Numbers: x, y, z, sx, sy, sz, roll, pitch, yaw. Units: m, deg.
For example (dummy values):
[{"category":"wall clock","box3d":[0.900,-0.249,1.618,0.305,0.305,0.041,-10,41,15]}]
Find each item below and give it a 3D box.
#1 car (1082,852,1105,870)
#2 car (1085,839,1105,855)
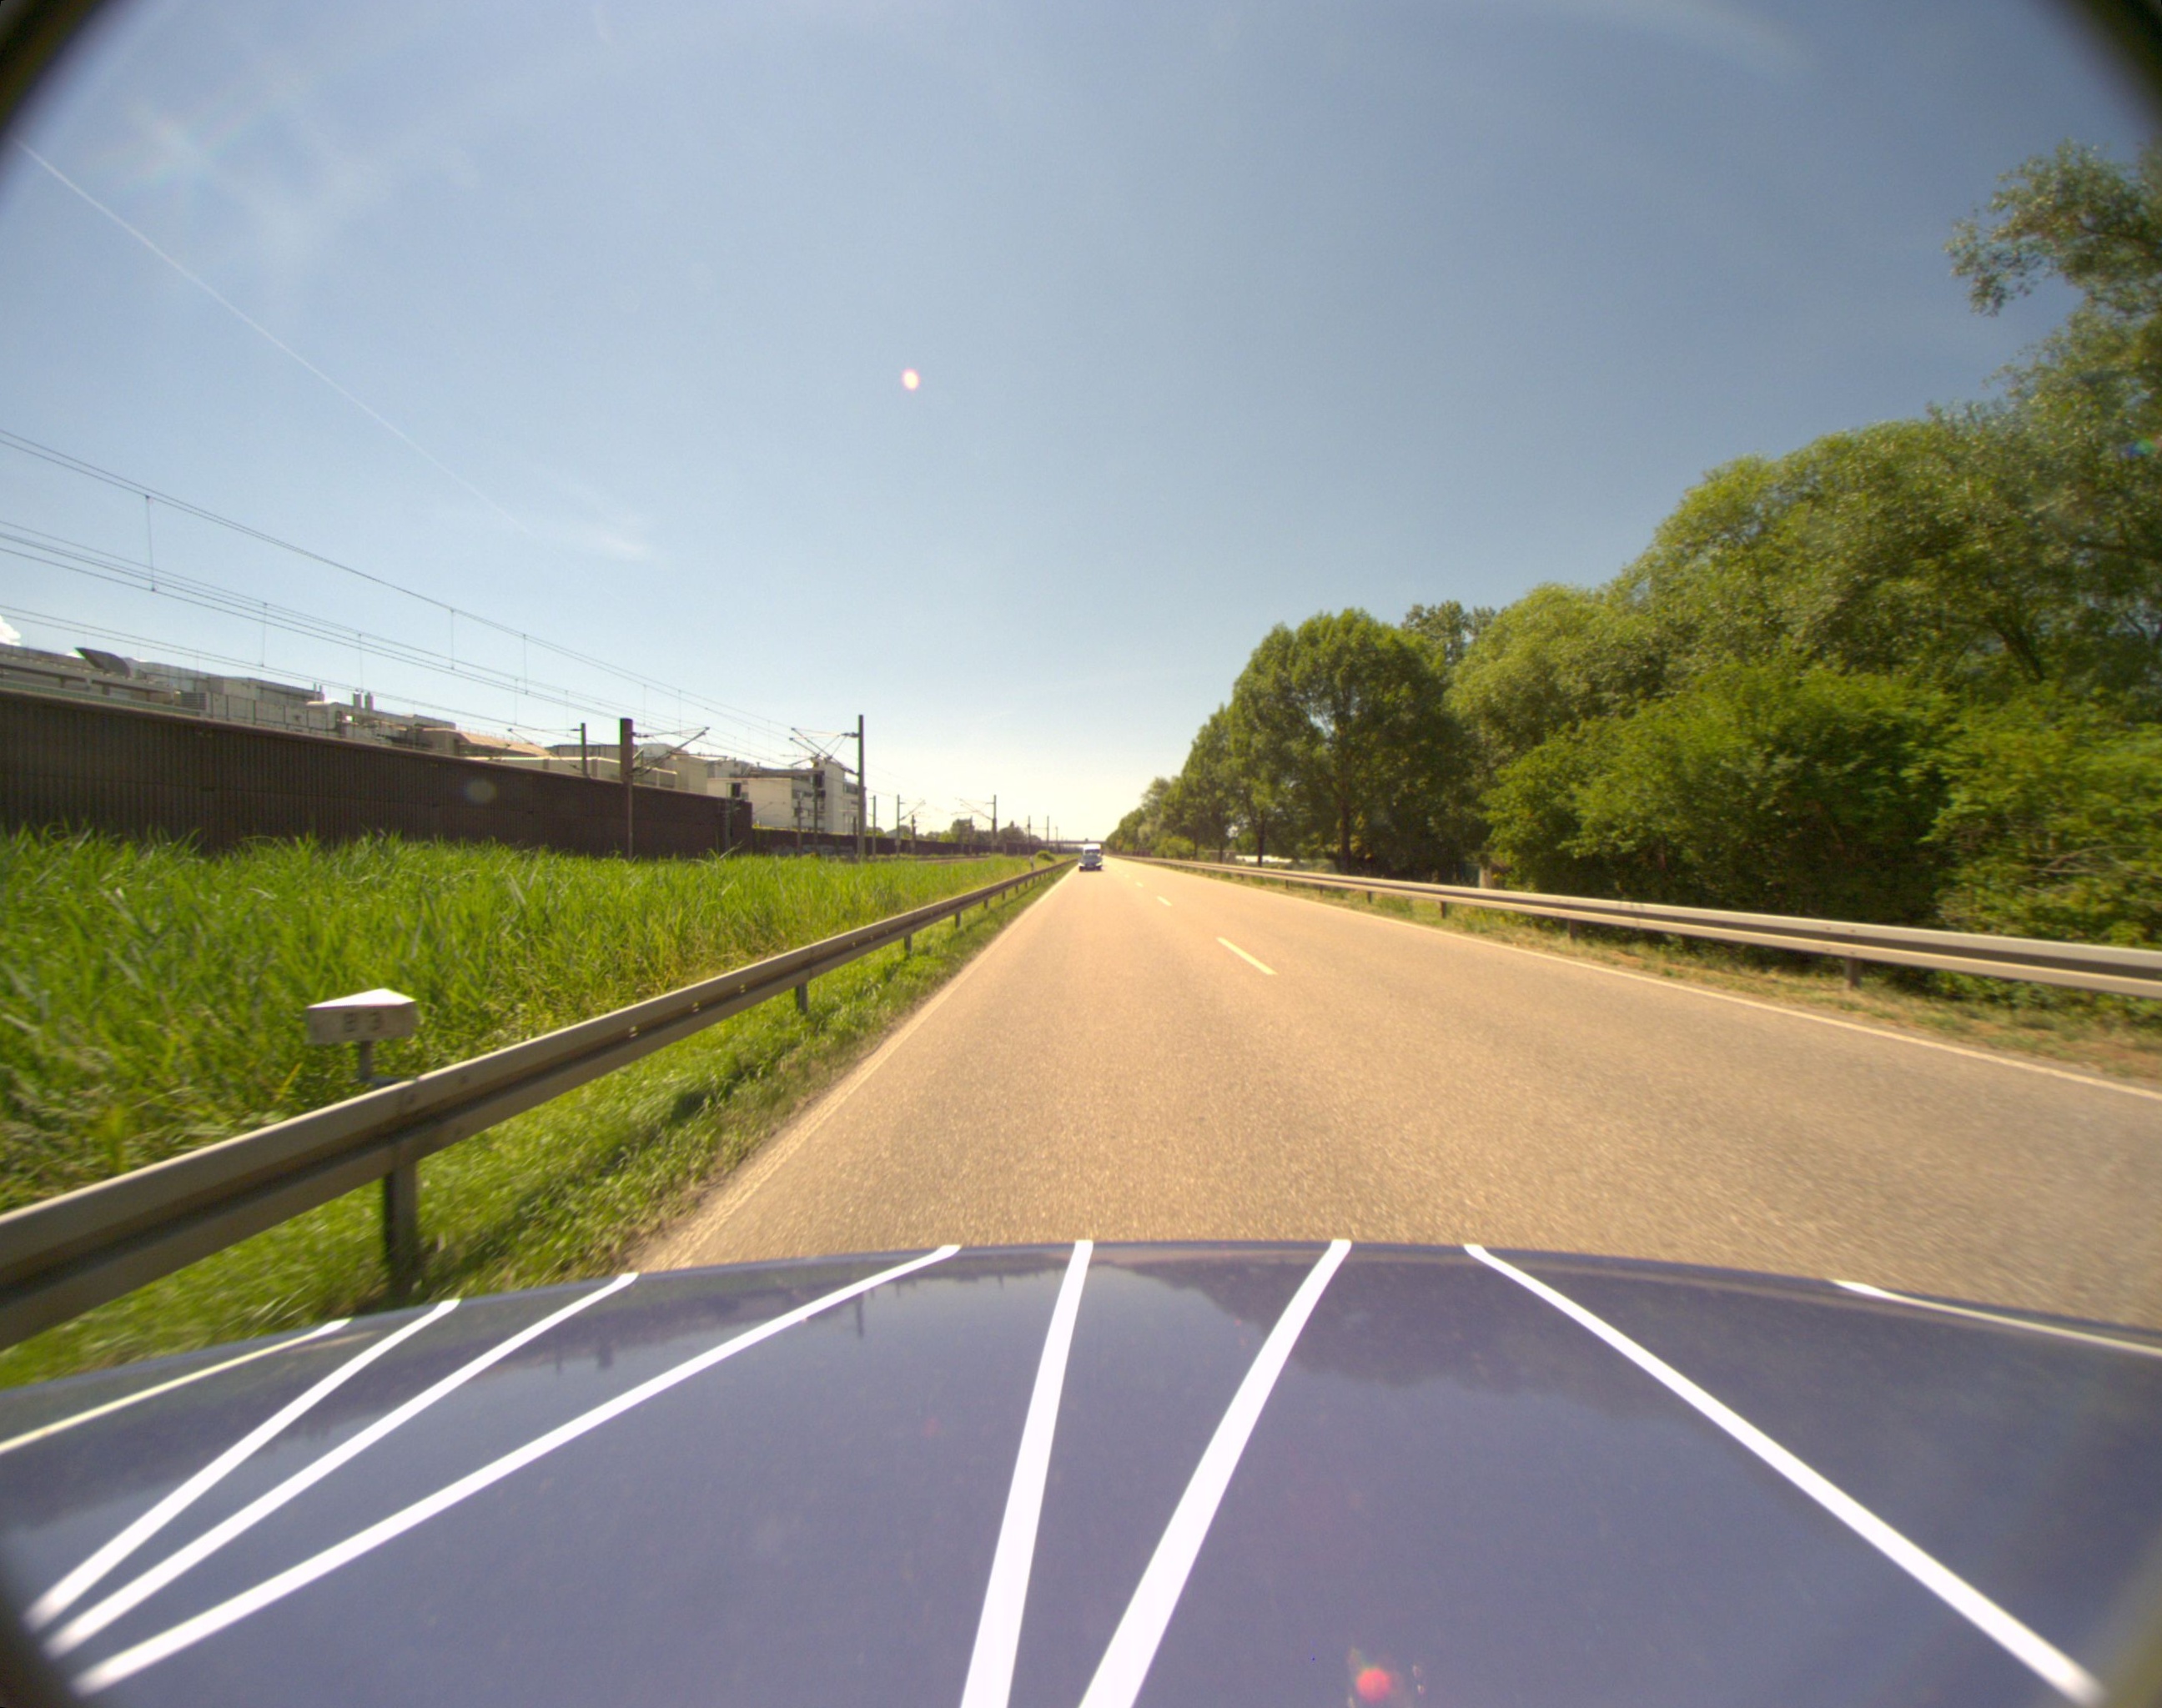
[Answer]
[{"category":"car","box3d":[1.005,0.505,60.351,1.758,1.313,4.000,-2,0,1]},{"category":"car","box3d":[1.538,-0.766,84.799,2.161,1.701,4.493,-2,0,1]}]
